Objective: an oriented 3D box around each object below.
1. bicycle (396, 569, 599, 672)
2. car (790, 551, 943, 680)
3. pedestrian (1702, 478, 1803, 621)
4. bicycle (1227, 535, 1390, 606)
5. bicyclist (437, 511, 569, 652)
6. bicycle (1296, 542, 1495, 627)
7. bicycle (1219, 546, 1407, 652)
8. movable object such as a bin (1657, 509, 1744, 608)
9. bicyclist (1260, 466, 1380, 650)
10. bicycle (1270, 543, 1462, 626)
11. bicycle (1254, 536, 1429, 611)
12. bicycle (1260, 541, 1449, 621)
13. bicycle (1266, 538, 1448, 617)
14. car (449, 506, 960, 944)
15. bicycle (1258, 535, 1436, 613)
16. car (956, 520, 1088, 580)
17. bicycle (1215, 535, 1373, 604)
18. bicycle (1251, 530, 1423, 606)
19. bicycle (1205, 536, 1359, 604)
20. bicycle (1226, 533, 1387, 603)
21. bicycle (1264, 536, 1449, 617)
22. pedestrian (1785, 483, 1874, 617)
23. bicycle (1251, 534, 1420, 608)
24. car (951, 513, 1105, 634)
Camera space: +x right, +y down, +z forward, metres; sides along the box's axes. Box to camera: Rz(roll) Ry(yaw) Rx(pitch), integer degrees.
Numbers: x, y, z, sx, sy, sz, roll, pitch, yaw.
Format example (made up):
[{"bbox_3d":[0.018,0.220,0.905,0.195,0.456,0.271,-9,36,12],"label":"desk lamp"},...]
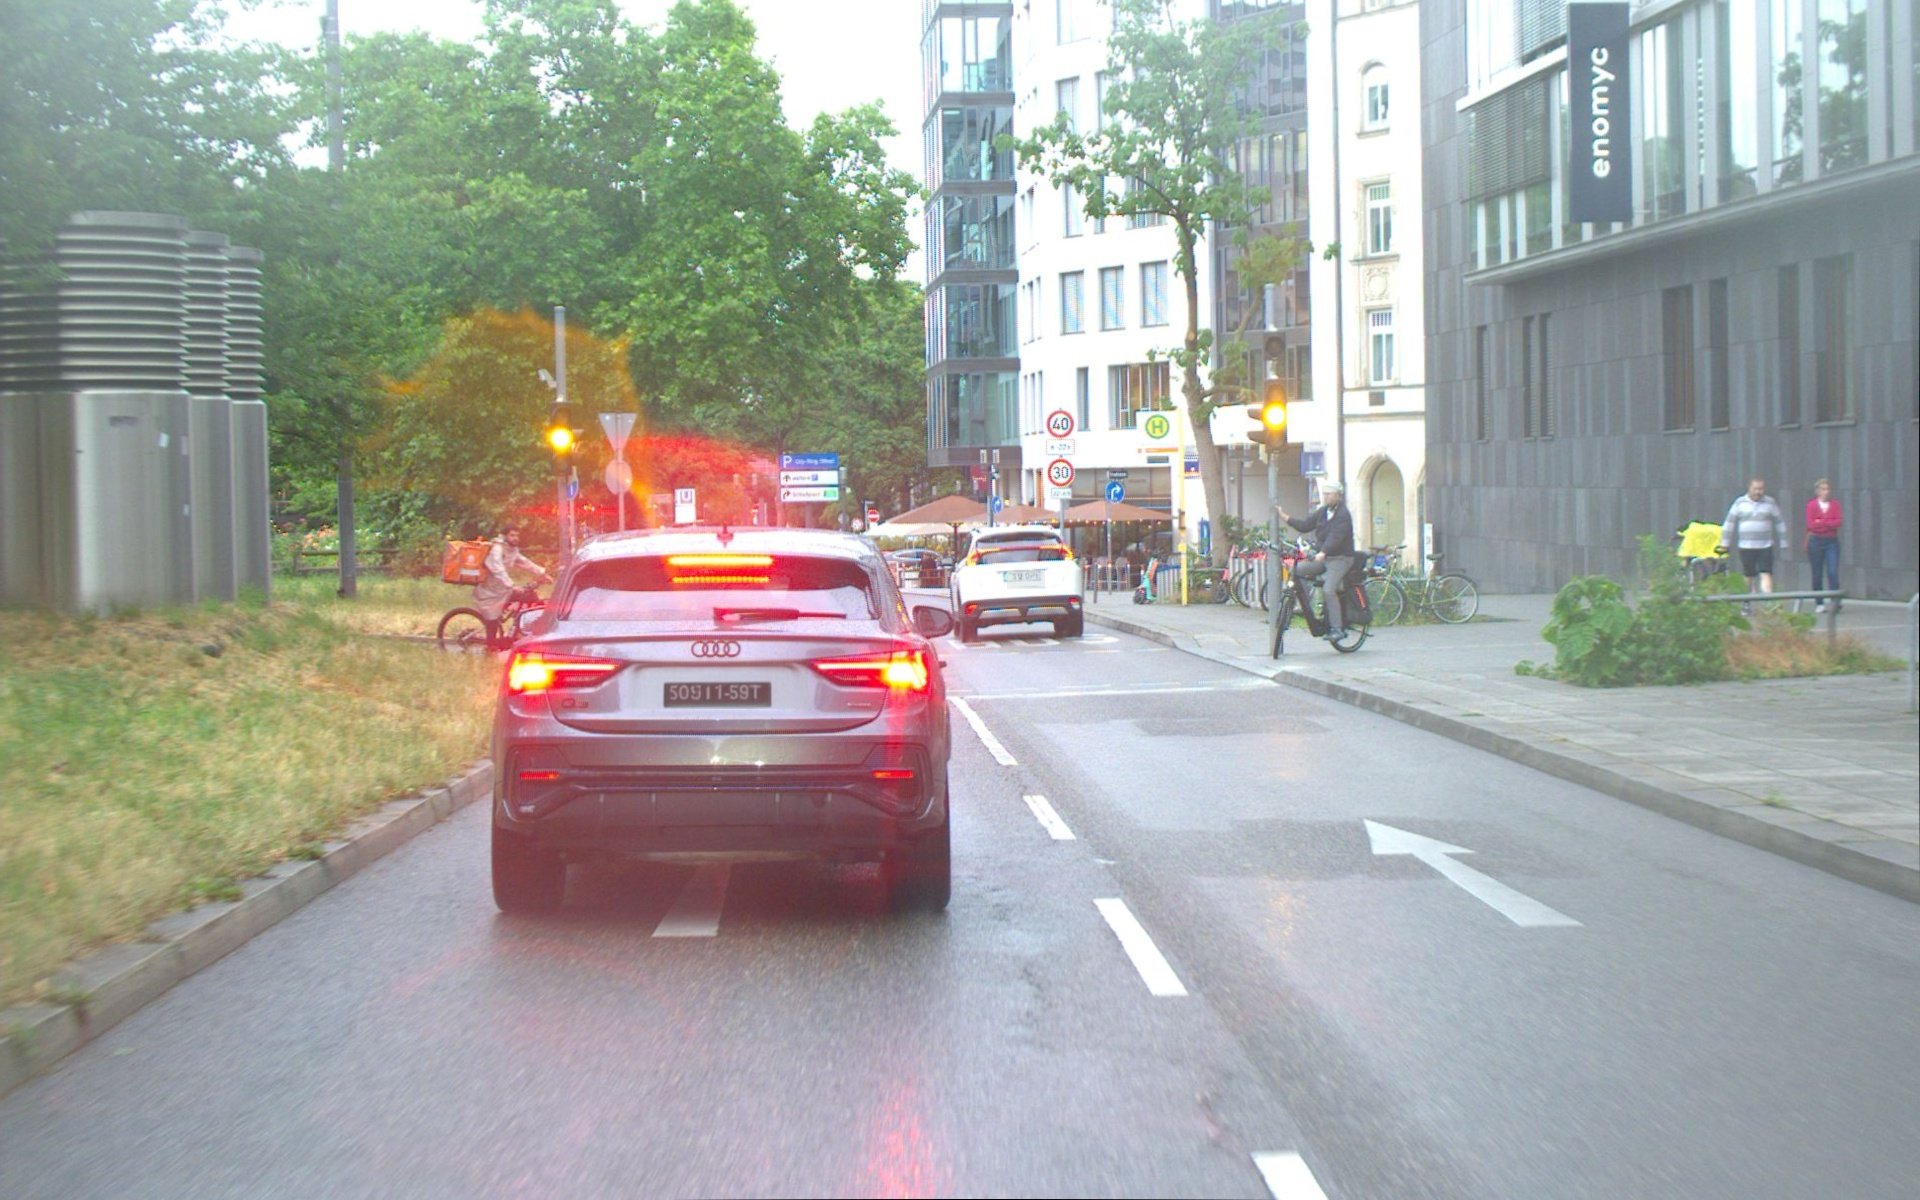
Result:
[{"bbox_3d":[-5.316,0.227,39.530,2.063,1.110,1.011,2,1,20],"label":"bicycle"},{"bbox_3d":[-1.236,0.176,47.299,1.945,1.641,4.245,-1,1,0],"label":"car"},{"bbox_3d":[10.278,-0.661,44.621,0.900,1.786,1.047,-4,1,-4],"label":"pedestrian"},{"bbox_3d":[5.676,-0.483,56.021,2.535,1.083,0.677,-2,1,-4],"label":"bicycle"},{"bbox_3d":[-5.245,-0.217,39.496,1.133,1.577,1.014,2,1,19],"label":"bicyclist"},{"bbox_3d":[5.826,-0.213,46.058,2.535,1.053,0.677,-2,1,-4],"label":"bicycle"},{"bbox_3d":[4.067,-0.018,39.549,2.126,1.141,0.763,-2,1,-34],"label":"bicycle"},{"bbox_3d":[9.903,-0.565,46.006,0.731,1.259,1.444,-4,1,-2],"label":"movable object such as a bin"},{"bbox_3d":[4.143,-0.482,39.614,1.082,2.076,0.763,-2,1,-34],"label":"bicyclist"},{"bbox_3d":[5.611,-0.221,47.540,2.535,1.083,0.677,-1,1,-4],"label":"bicycle"},{"bbox_3d":[5.775,-0.404,52.096,2.535,1.056,0.677,-2,1,-4],"label":"bicycle"},{"bbox_3d":[5.539,-0.274,48.344,2.535,1.083,0.677,1,1,-4],"label":"bicycle"},{"bbox_3d":[5.814,-0.334,50.419,2.535,1.083,0.677,-2,1,-4],"label":"bicycle"},{"bbox_3d":[-0.946,0.408,14.882,1.848,1.610,4.253,0,2,1],"label":"car"},{"bbox_3d":[5.762,-0.391,51.230,2.535,1.083,0.677,-2,1,-4],"label":"bicycle"},{"bbox_3d":[1.902,-1.554,106.464,3.987,1.641,2.000,3,1,0],"label":"car"},{"bbox_3d":[5.599,-0.517,57.664,2.535,1.083,0.677,-2,1,-4],"label":"bicycle"},{"bbox_3d":[5.809,-0.496,53.003,2.535,1.083,0.677,-2,1,-4],"label":"bicycle"},{"bbox_3d":[5.529,-0.520,59.135,2.535,1.083,0.627,-2,1,-4],"label":"bicycle"},{"bbox_3d":[5.716,-0.533,56.772,2.535,1.083,0.677,-2,1,-4],"label":"bicycle"},{"bbox_3d":[5.707,-0.344,49.566,2.535,1.083,0.677,-2,1,-4],"label":"bicycle"},{"bbox_3d":[11.328,-0.660,44.832,0.718,1.684,1.100,-4,1,-4],"label":"pedestrian"},{"bbox_3d":[5.913,-0.455,54.199,2.535,1.083,0.677,-2,1,-4],"label":"bicycle"},{"bbox_3d":[1.030,-0.424,50.978,2.179,1.695,4.000,-1,1,2],"label":"car"}]
